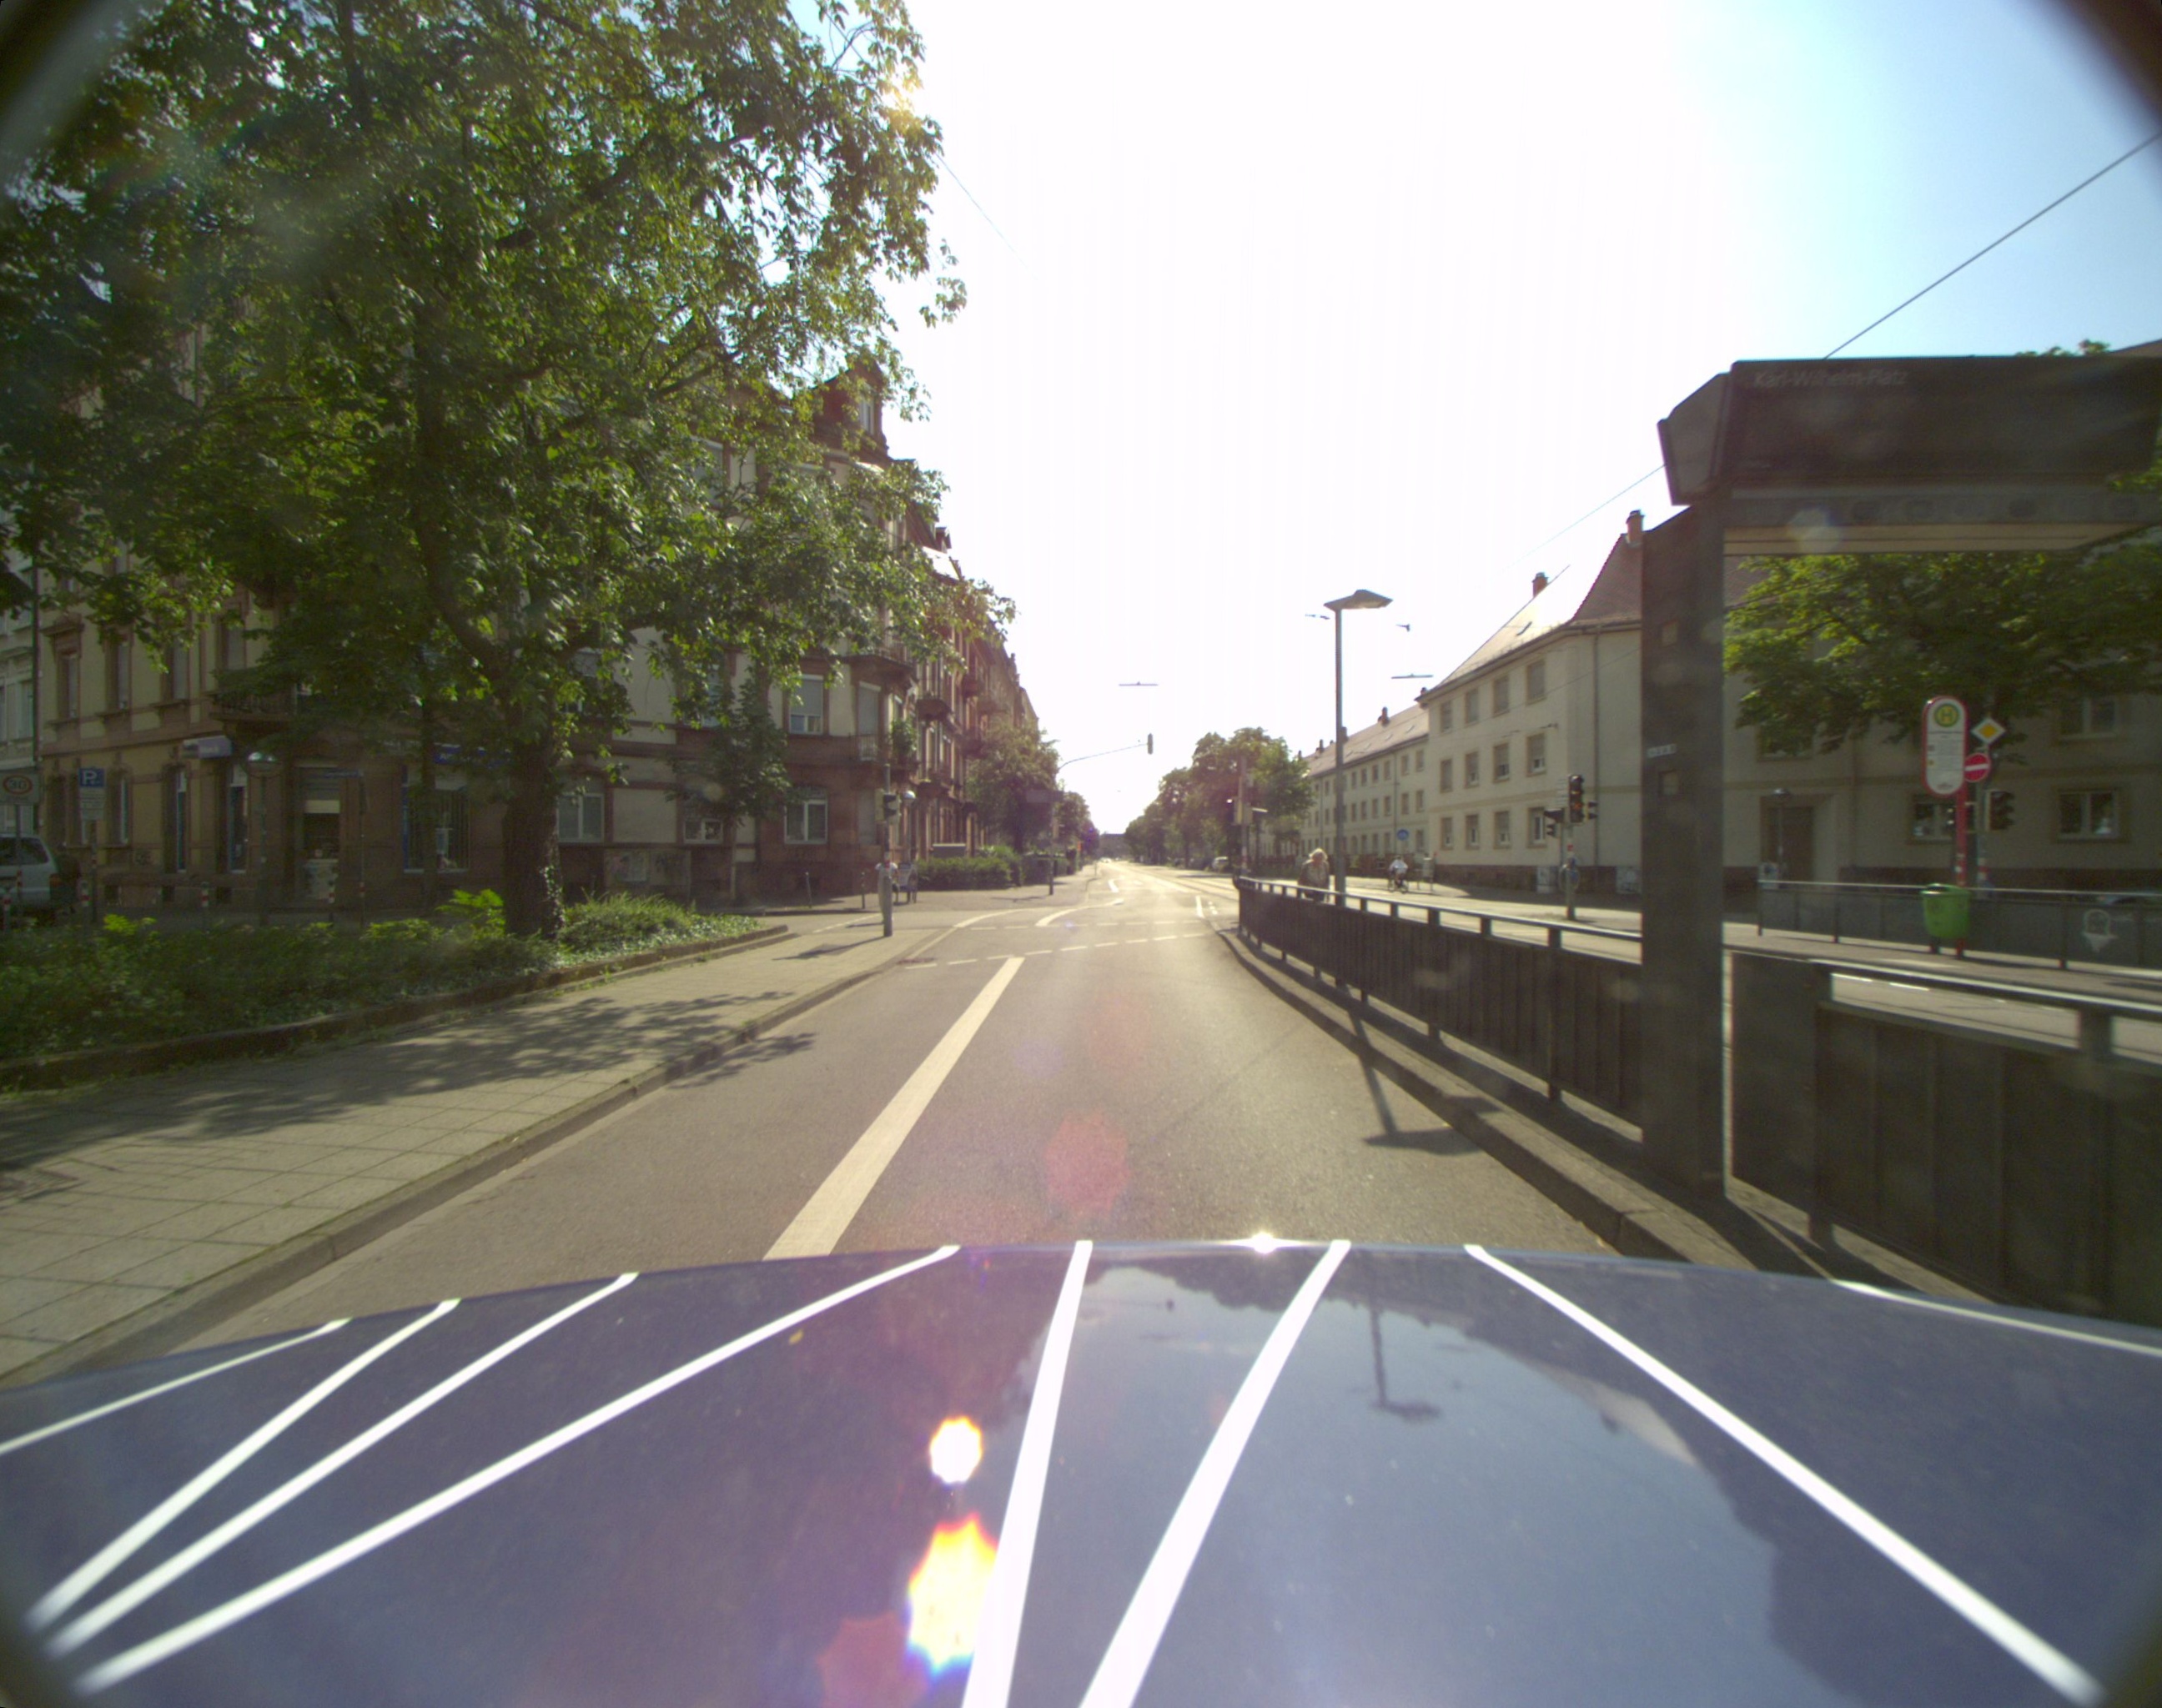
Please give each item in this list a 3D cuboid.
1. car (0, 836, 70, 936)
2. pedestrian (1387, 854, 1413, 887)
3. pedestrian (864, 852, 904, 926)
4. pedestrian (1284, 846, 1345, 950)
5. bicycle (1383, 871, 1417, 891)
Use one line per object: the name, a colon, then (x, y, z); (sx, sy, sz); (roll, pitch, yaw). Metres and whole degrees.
car: (-23.462, 0.647, 15.851); (4.306, 1.975, 1.841); (0, 1, 24)
pedestrian: (14.323, 0.727, 34.160); (0.805, 1.465, 0.806); (0, 1, -3)
pedestrian: (-4.525, 0.783, 17.455); (0.707, 1.644, 0.534); (-2, 1, 1)
pedestrian: (3.531, 0.650, 11.523); (0.702, 1.524, 0.557); (-2, 1, 1)
bicycle: (14.303, 1.209, 34.128); (0.755, 0.844, 1.618); (0, 0, -3)
